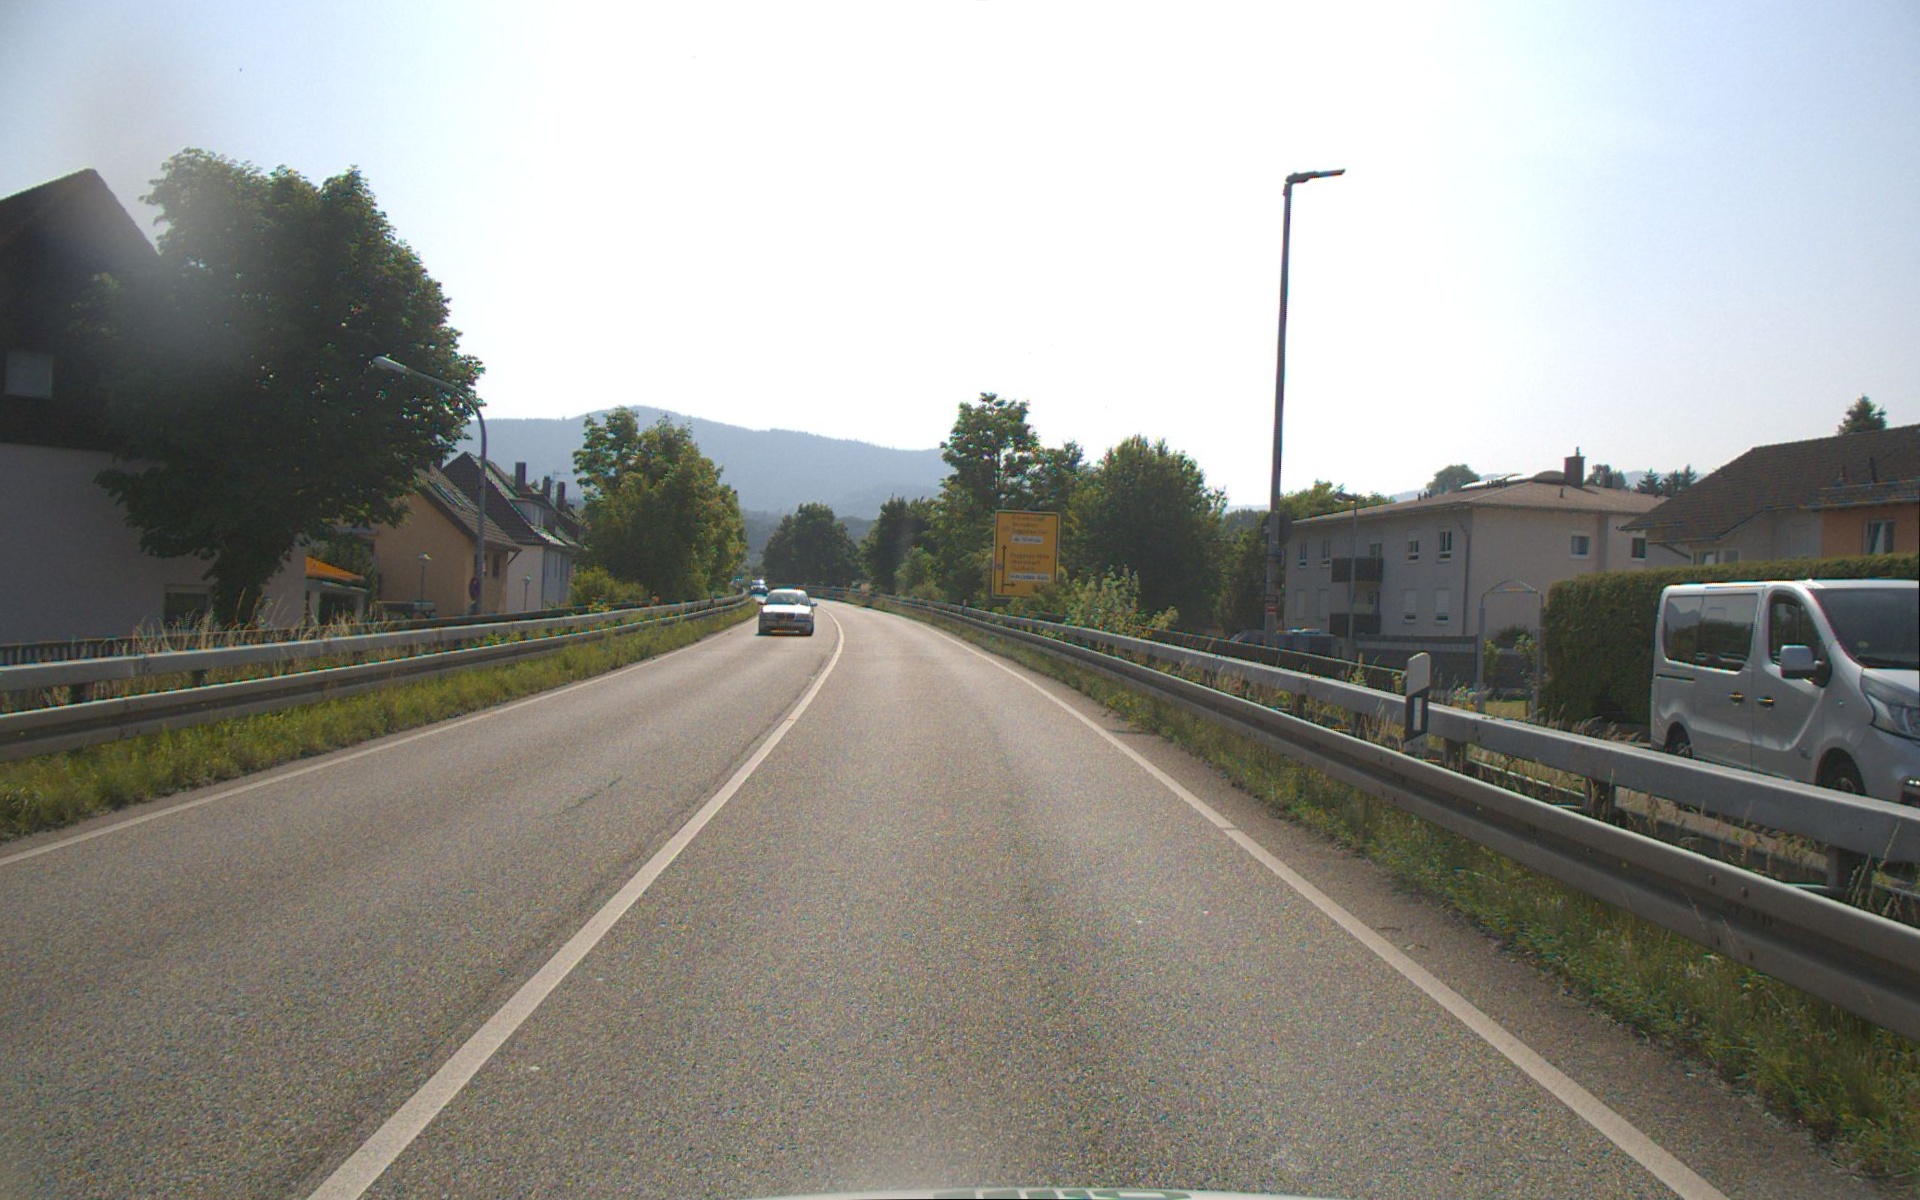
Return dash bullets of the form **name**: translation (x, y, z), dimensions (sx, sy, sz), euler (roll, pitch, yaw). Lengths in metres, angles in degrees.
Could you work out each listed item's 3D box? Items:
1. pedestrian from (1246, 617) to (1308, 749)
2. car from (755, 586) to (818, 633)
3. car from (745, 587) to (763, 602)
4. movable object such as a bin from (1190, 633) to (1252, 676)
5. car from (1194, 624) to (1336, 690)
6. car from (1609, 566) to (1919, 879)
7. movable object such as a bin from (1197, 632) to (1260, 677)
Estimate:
- **pedestrian**: translation (5.062, 1.312, 26.485), dimensions (0.771, 2.049, 0.997), euler (1, 0, 1)
- **car**: translation (-5.503, 0.291, 52.874), dimensions (1.723, 1.435, 3.988), euler (0, 0, -2)
- **car**: translation (-21.124, -0.551, 169.887), dimensions (1.773, 1.588, 3.987), euler (0, 0, -7)
- **movable object such as a bin**: translation (13.798, 2.864, 87.547), dimensions (2.858, 2.048, 1.711), euler (3, 0, -5)
- **car**: translation (13.918, 2.644, 75.765), dimensions (5.954, 2.735, 2.310), euler (3, -3, -5)
- **car**: translation (7.076, 0.768, 13.102), dimensions (1.952, 1.979, 5.363), euler (1, 1, 3)
- **movable object such as a bin**: translation (13.543, 2.756, 83.460), dimensions (2.729, 2.048, 1.586), euler (3, 0, -5)
